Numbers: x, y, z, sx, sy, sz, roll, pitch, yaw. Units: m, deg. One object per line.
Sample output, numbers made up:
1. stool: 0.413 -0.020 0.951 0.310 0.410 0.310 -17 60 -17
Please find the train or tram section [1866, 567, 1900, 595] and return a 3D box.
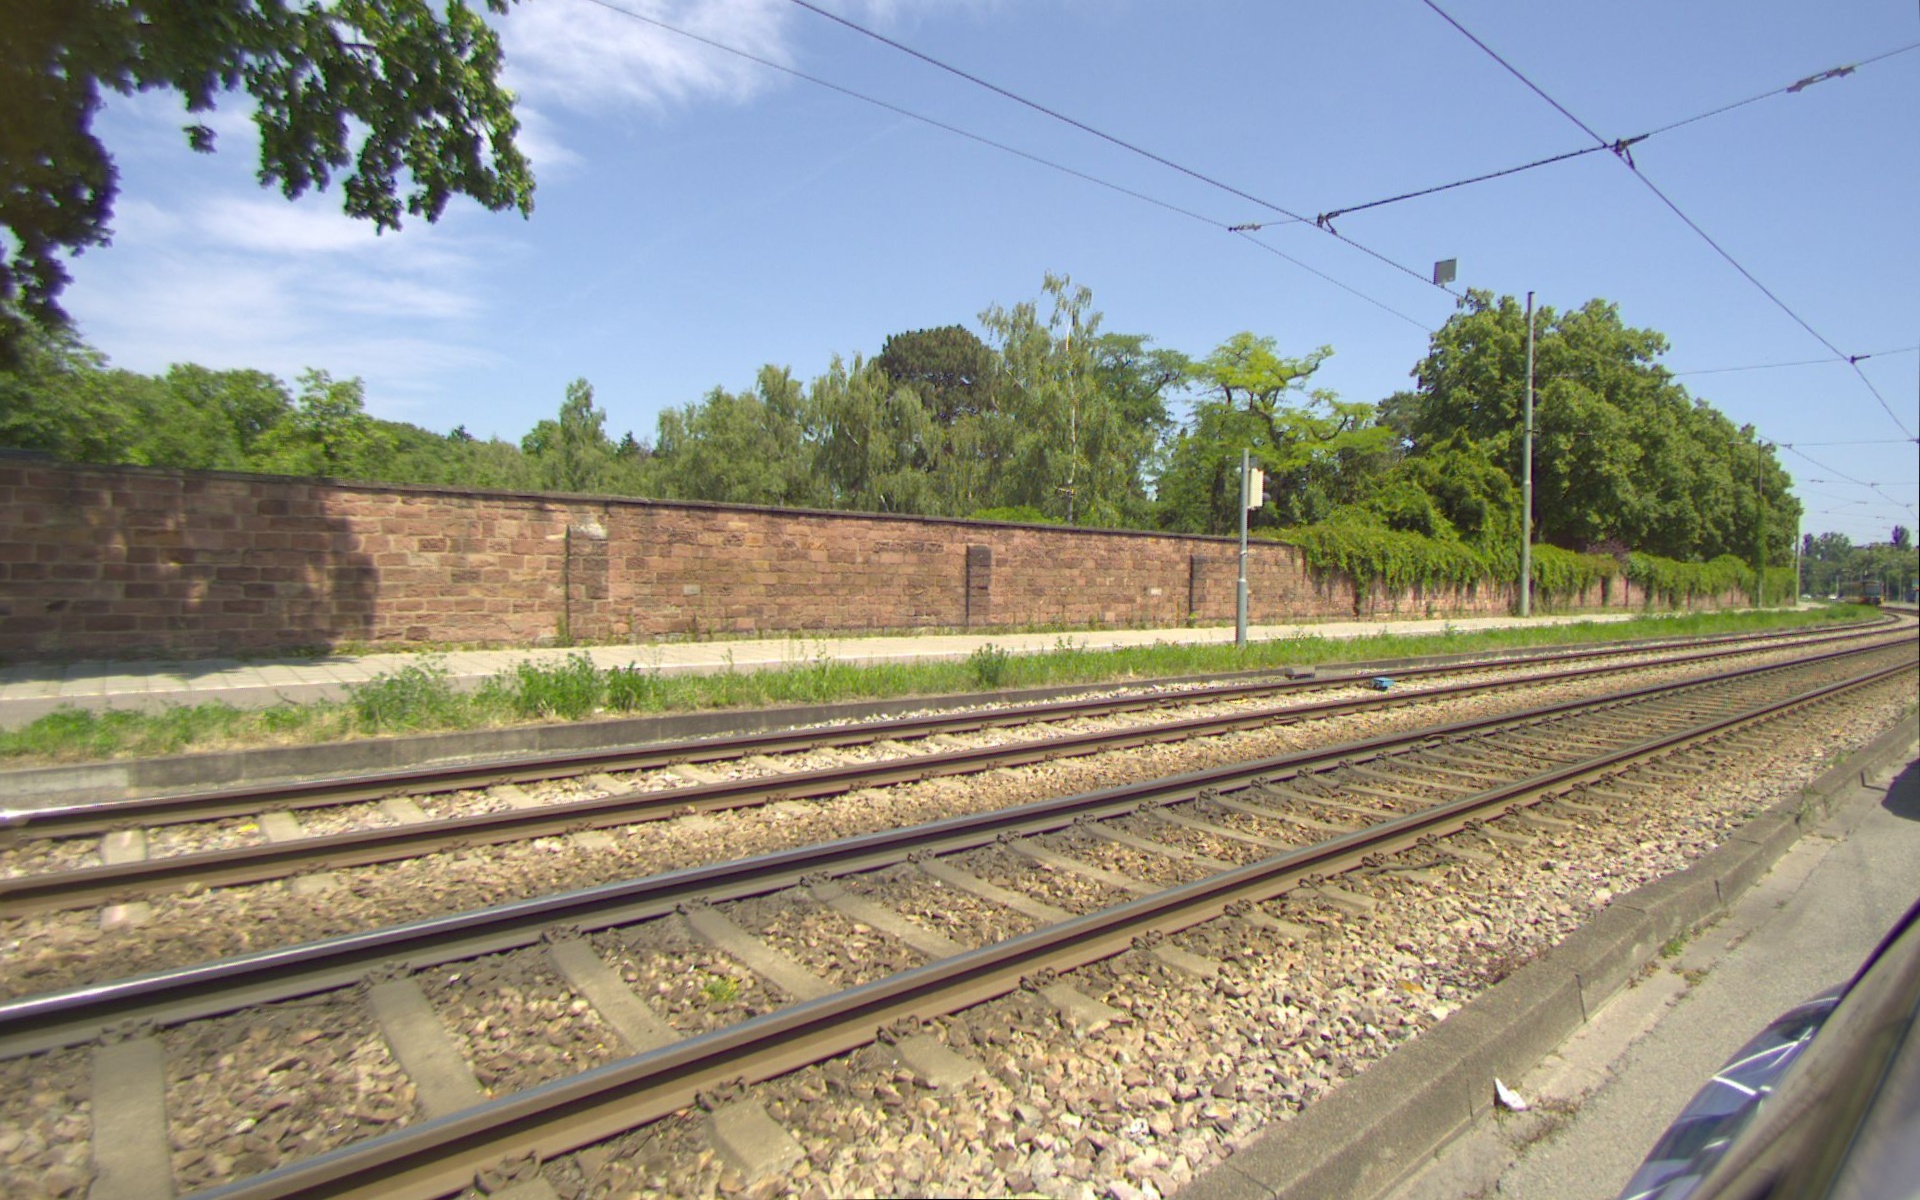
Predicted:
1. train or tram section: 131.205 -2.740 143.793 14.029 3.854 2.808 -1 1 -44
